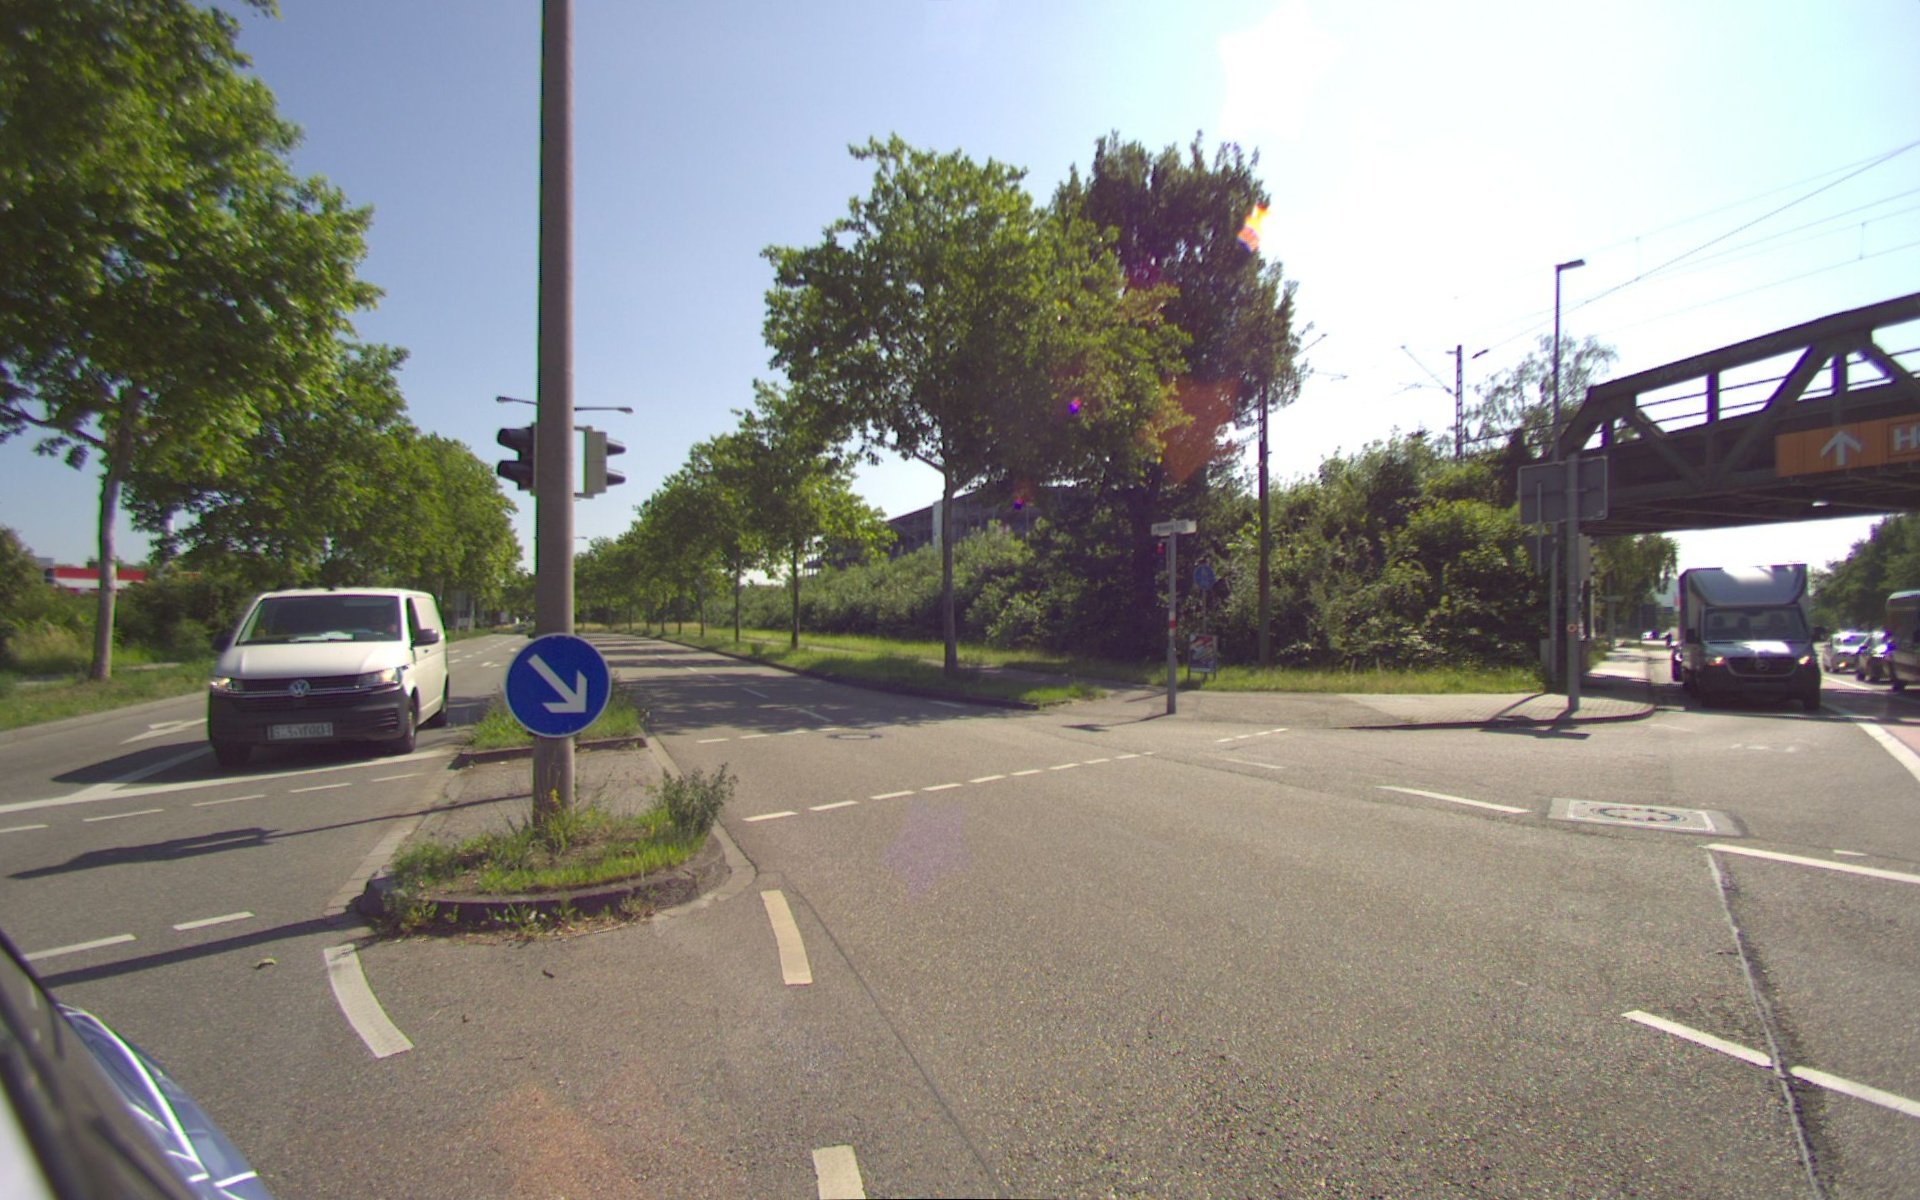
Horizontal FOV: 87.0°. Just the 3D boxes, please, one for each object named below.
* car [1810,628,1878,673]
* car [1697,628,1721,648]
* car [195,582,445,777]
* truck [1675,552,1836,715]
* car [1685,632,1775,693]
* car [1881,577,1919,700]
[{"bbox_3d":[32.912,1.845,37.761,1.594,1.464,3.950,-2,0,37],"label":"car"},{"bbox_3d":[75.464,3.834,101.977,1.888,1.763,3.950,-2,0,37],"label":"car"},{"bbox_3d":[-7.602,0.833,12.537,1.841,1.915,4.897,0,-1,-23],"label":"car"},{"bbox_3d":[17.695,0.804,22.872,2.212,3.130,6.786,-2,-4,33],"label":"truck"},{"bbox_3d":[21.816,1.715,28.736,1.888,1.400,4.185,-2,0,37],"label":"car"},{"bbox_3d":[24.245,0.925,24.437,2.170,2.834,6.125,-1,-2,35],"label":"car"}]
